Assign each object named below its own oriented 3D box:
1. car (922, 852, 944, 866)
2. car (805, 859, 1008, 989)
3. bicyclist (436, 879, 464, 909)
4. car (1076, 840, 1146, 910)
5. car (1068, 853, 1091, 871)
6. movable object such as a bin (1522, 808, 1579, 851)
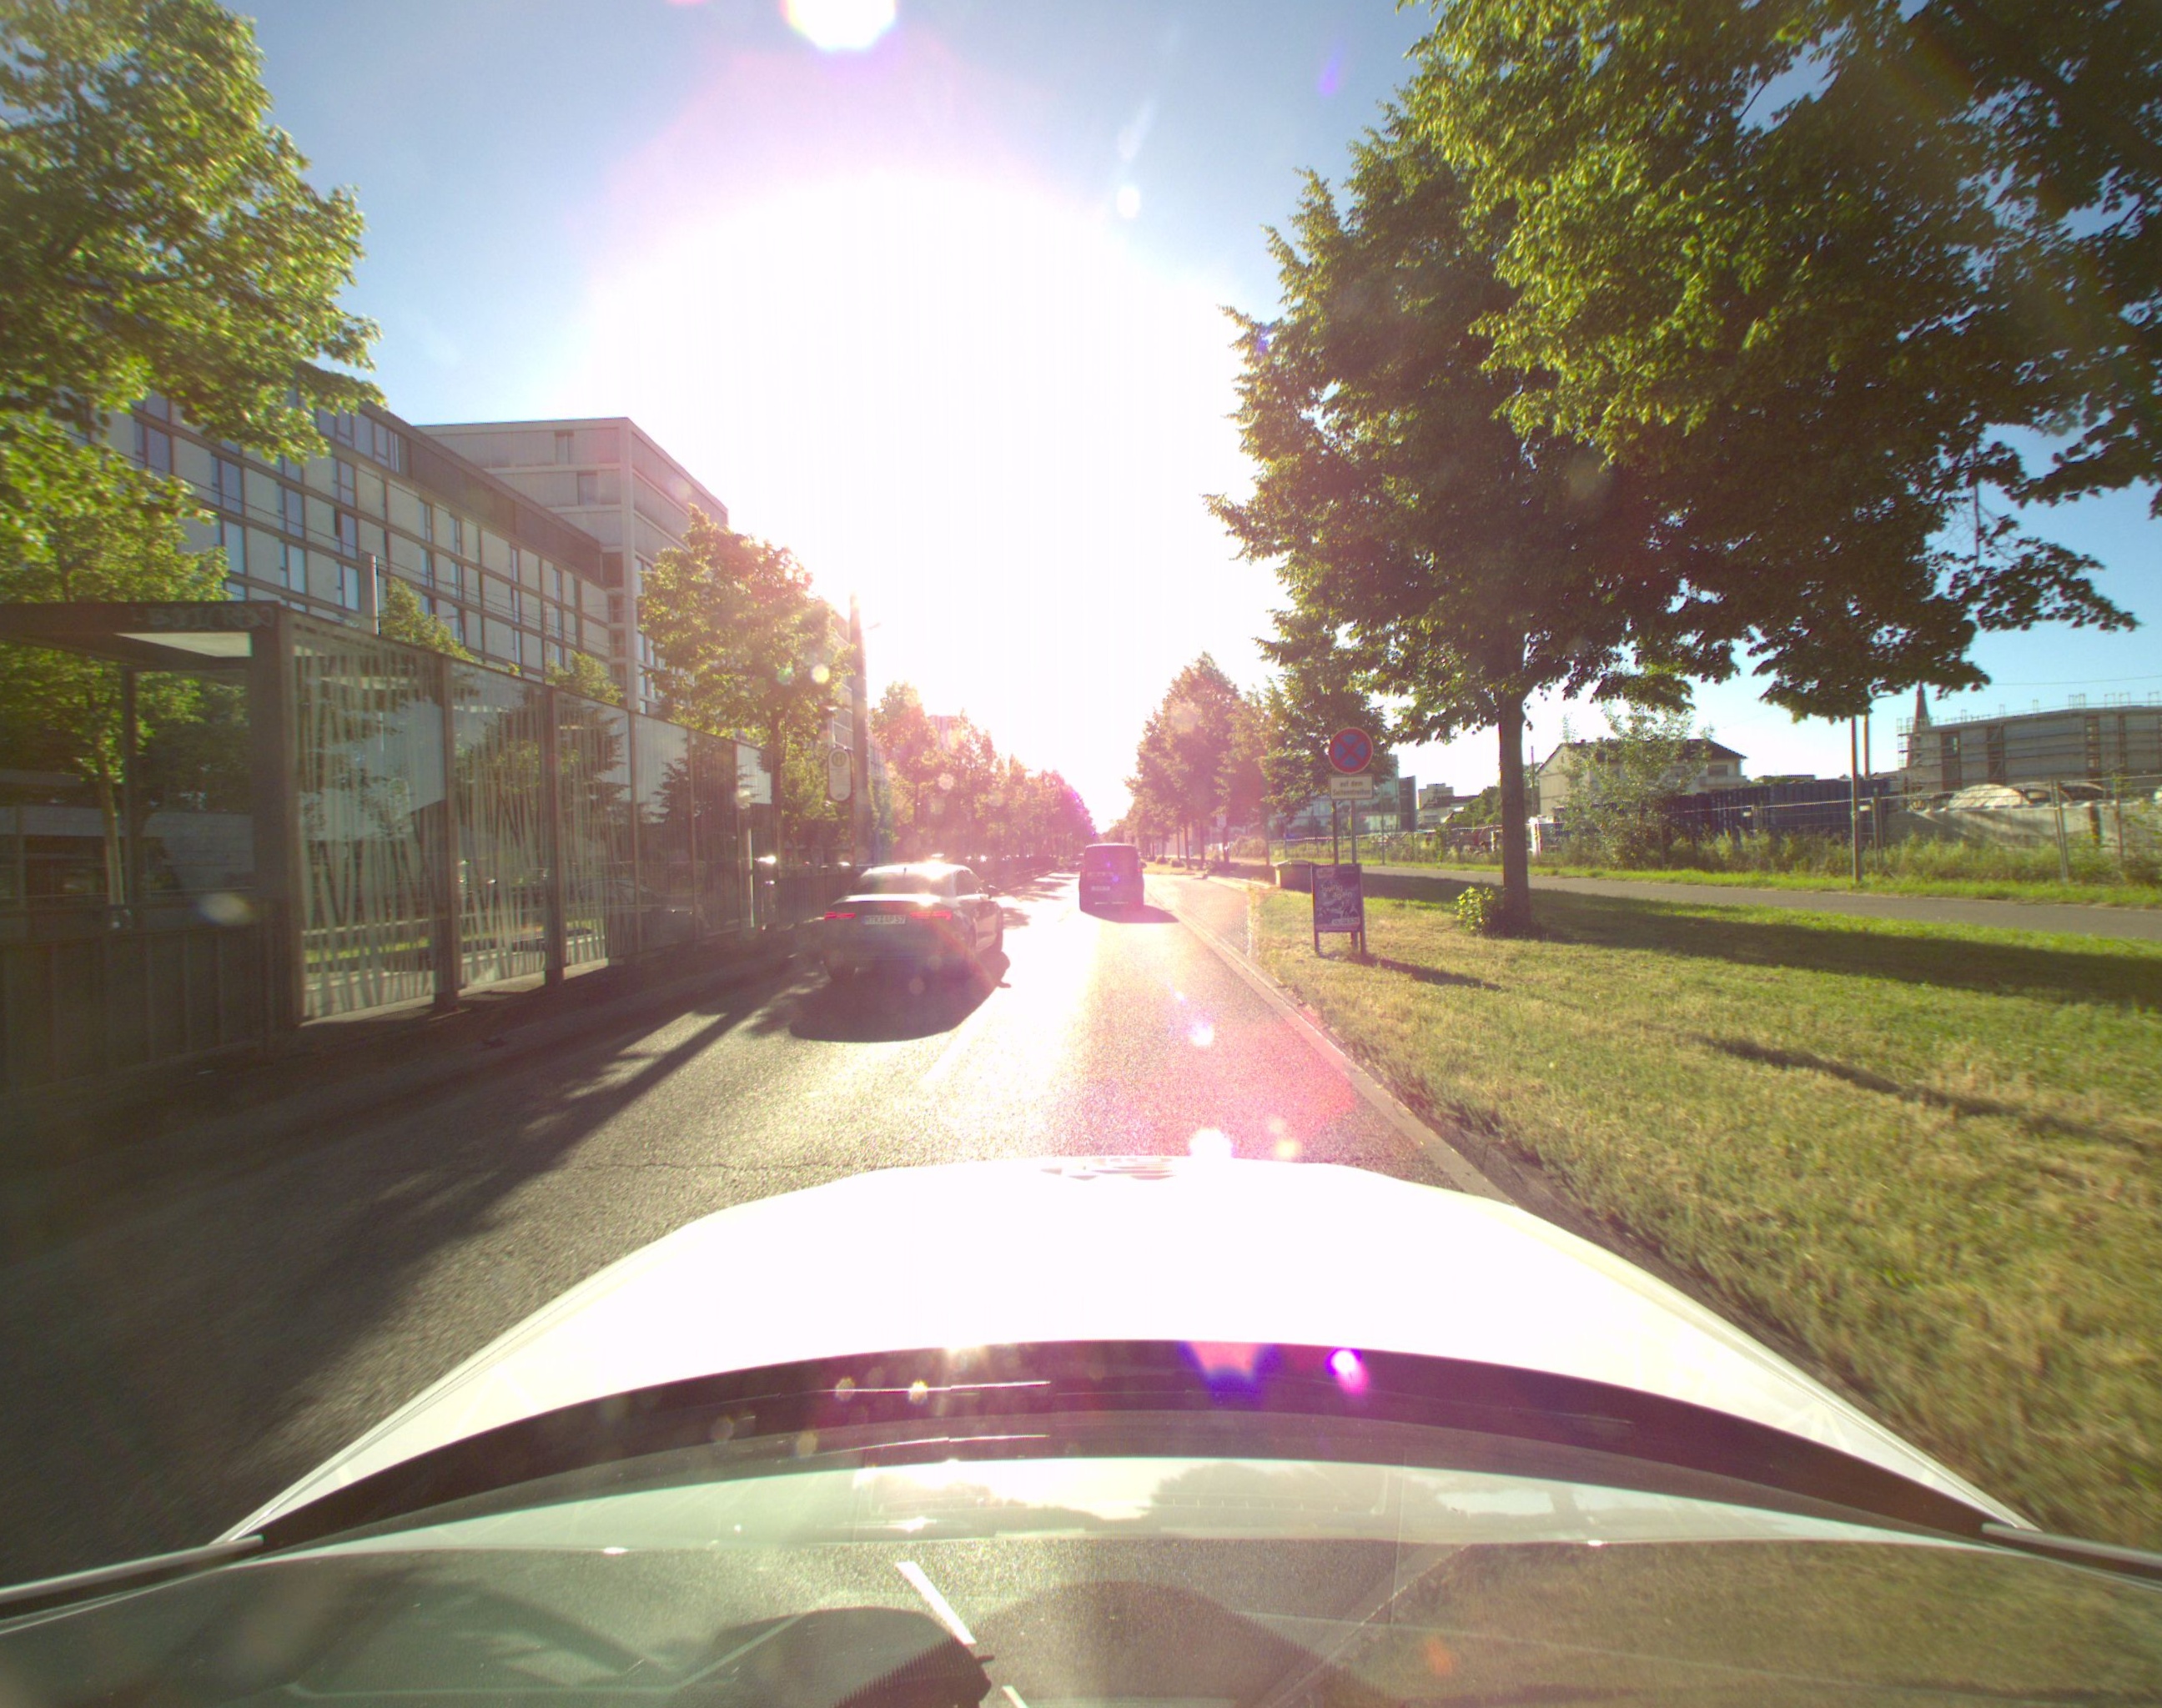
[{"bbox_3d":[-19.322,0.641,106.394,1.986,1.750,4.229,-3,-1,1],"label":"car"},{"bbox_3d":[-2.117,0.791,11.098,1.714,1.366,4.148,-1,0,2],"label":"car"},{"bbox_3d":[-32.089,2.037,41.435,0.717,1.463,0.833,-2,0,4],"label":"bicyclist"},{"bbox_3d":[0.788,0.542,23.324,1.792,1.777,3.999,-2,0,0],"label":"car"},{"bbox_3d":[-0.096,0.710,71.767,1.936,1.441,3.999,-2,0,0],"label":"car"},{"bbox_3d":[23.212,-1.195,40.339,1.788,2.014,1.790,-2,-2,3],"label":"movable object such as a bin"}]
